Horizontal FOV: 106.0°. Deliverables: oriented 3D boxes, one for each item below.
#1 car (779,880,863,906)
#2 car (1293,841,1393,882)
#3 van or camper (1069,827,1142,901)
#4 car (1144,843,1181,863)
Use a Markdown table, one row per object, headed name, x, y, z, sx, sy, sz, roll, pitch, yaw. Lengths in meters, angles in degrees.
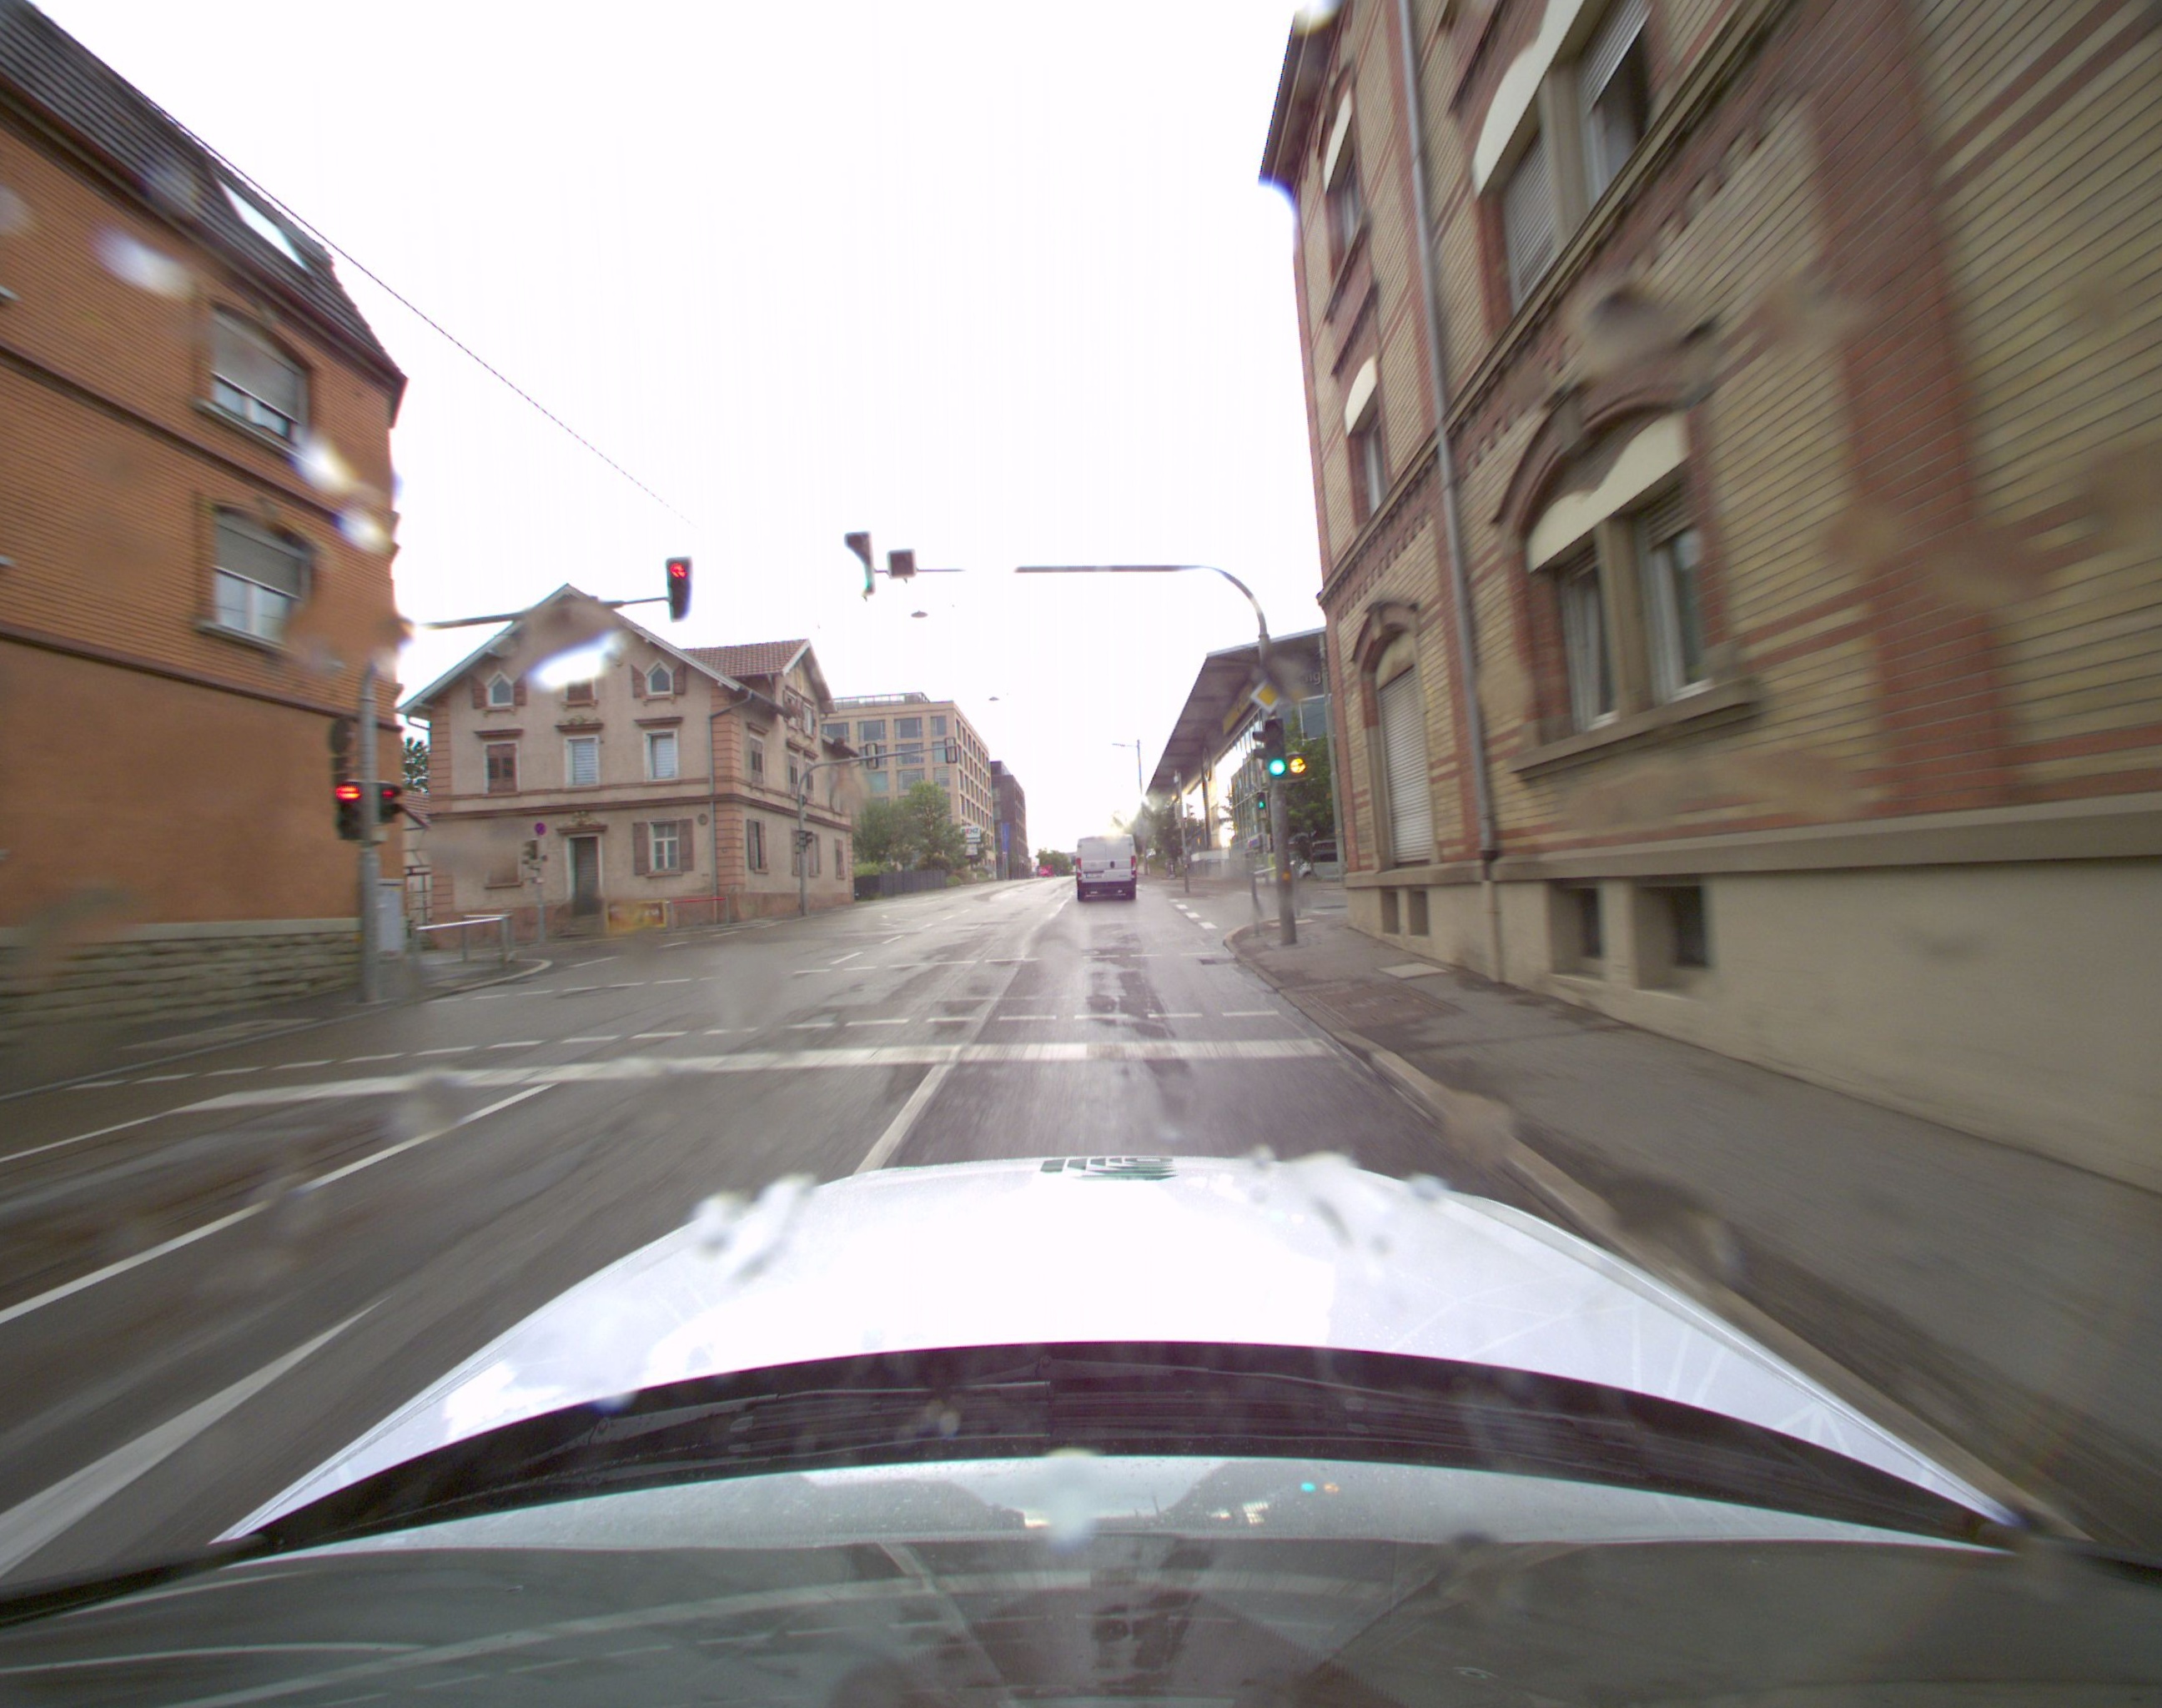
| name | x | y | z | sx | sy | sz | roll | pitch | yaw |
| --- | --- | --- | --- | --- | --- | --- | --- | --- | --- |
| car | -13.937 | 2.057 | 43.803 | 3.978 | 1.163 | 1.605 | -3 | -1 | -4 |
| car | 11.920 | 0.386 | 37.105 | 3.949 | 1.508 | 1.909 | -5 | -5 | 28 |
| van or camper | 0.899 | 0.390 | 29.546 | 2.331 | 2.357 | 5.201 | -3 | -1 | 2 |
| car | 8.040 | -0.091 | 80.152 | 1.975 | 1.710 | 4.455 | -6 | -3 | 27 |
